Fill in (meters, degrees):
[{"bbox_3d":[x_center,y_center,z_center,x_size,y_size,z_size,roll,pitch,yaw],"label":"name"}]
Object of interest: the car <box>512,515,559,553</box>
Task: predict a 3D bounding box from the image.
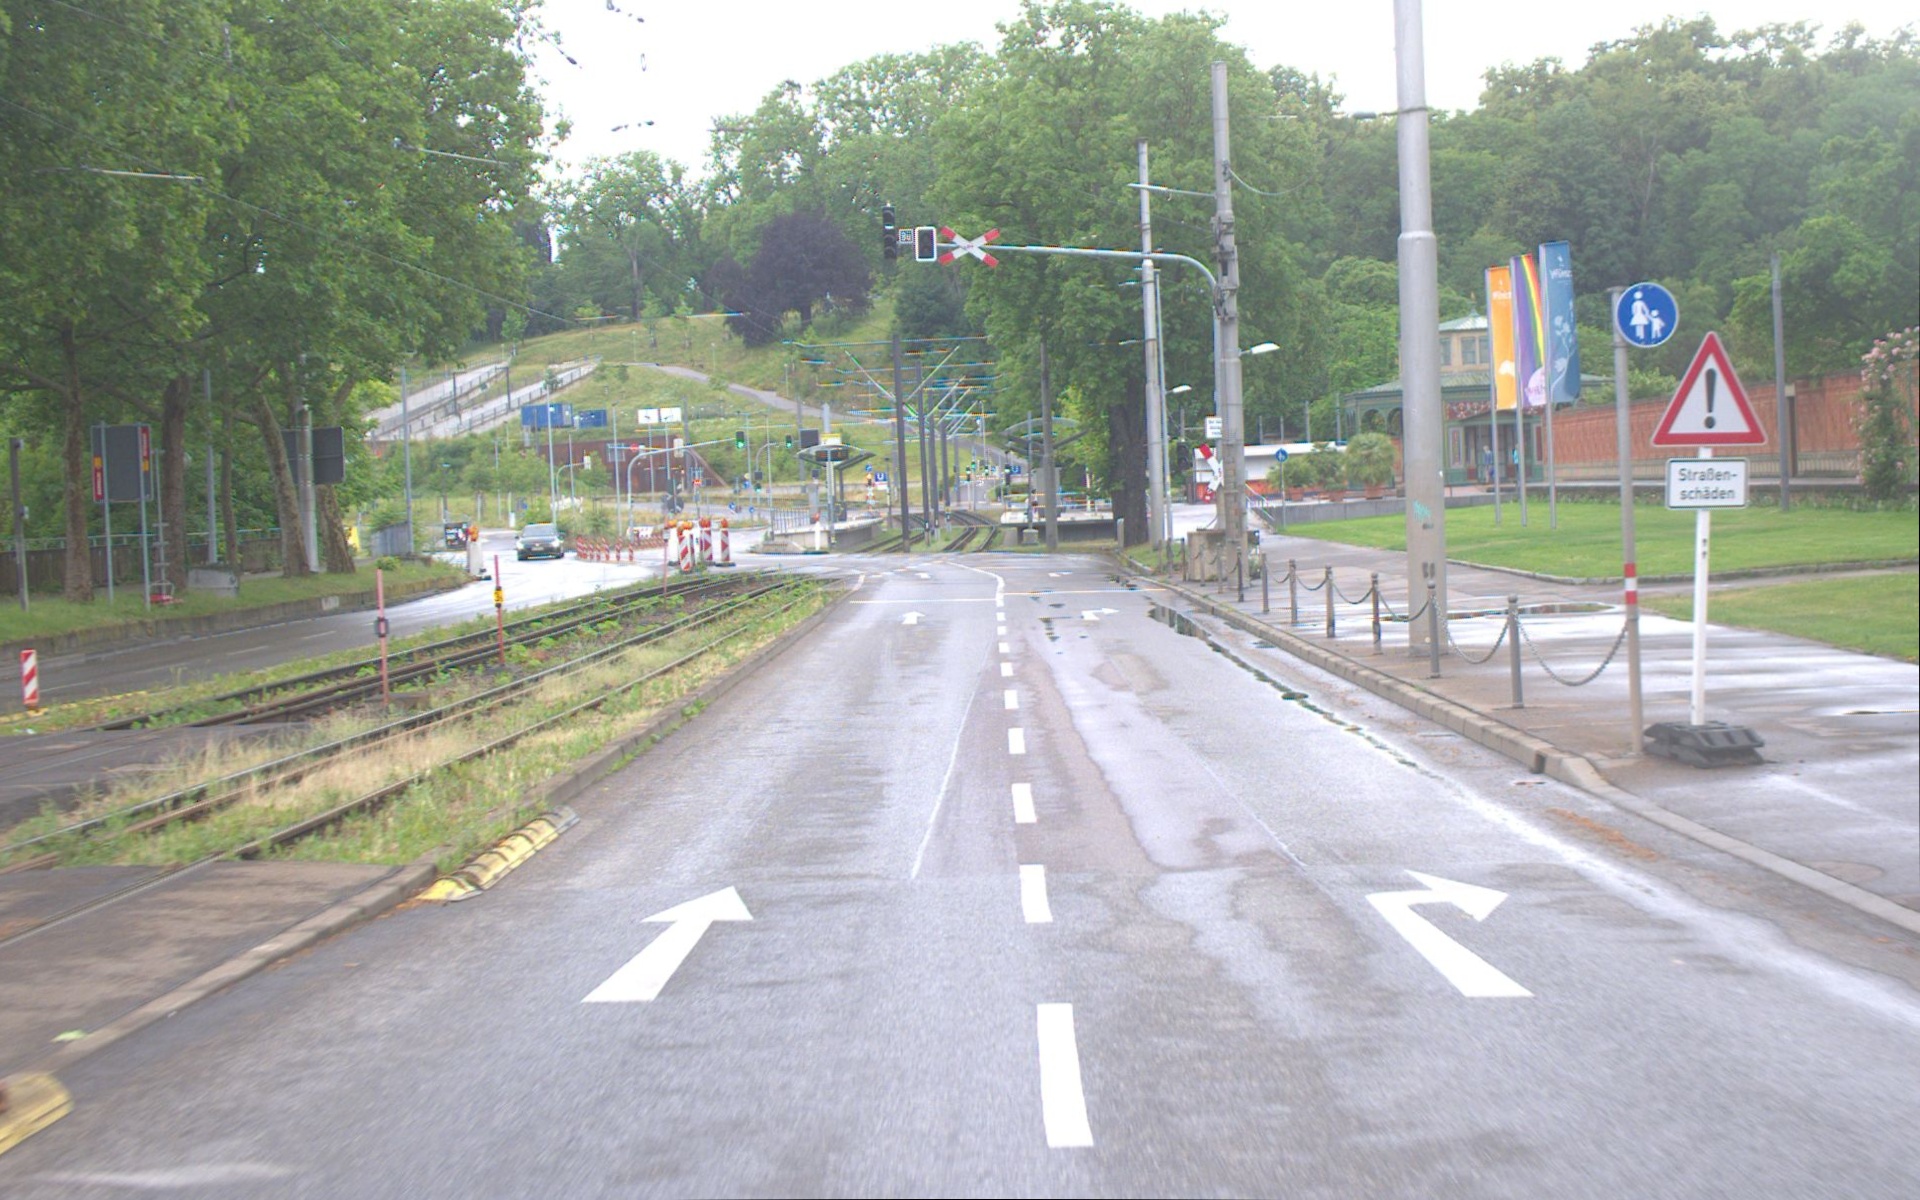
[{"bbox_3d":[-17.554,-2.728,142.343,1.746,1.425,4.561,-4,2,-6],"label":"car"}]
